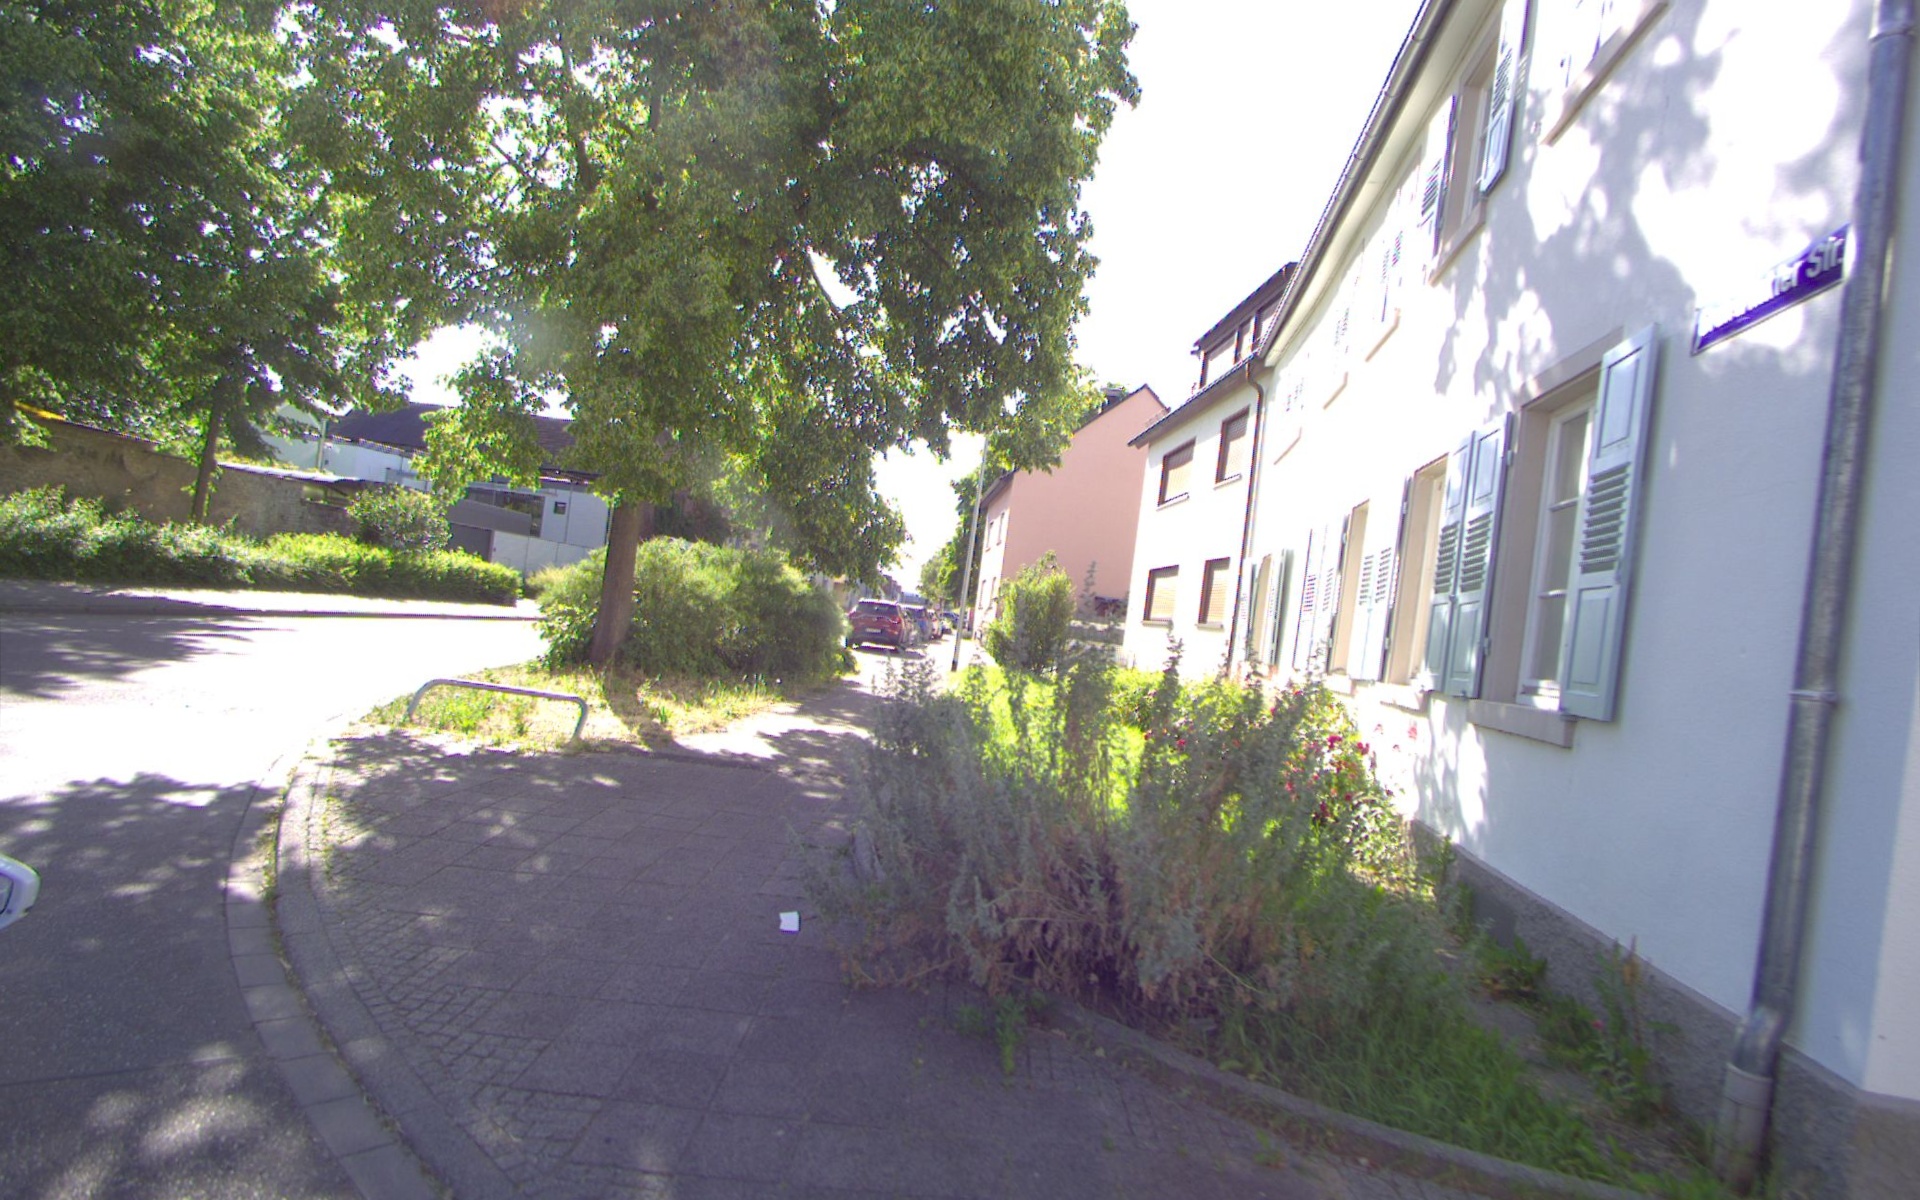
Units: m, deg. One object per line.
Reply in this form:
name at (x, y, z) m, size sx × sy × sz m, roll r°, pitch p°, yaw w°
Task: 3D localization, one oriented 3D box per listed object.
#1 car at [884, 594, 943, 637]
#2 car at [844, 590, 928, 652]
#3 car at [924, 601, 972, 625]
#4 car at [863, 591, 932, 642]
car at (-2.121, 0.730, 47.025) m, size 1.878 × 1.696 × 4.002 m, roll 8°, pitch 0°, yaw 7°
car at (-2.390, 0.698, 33.577) m, size 1.878 × 1.696 × 4.002 m, roll 8°, pitch 0°, yaw 7°
car at (-1.102, 1.194, 91.591) m, size 3.934 × 1.583 × 1.911 m, roll 9°, pitch 0°, yaw -9°
car at (-2.441, 0.688, 40.529) m, size 1.878 × 1.696 × 4.002 m, roll 8°, pitch 0°, yaw 7°
